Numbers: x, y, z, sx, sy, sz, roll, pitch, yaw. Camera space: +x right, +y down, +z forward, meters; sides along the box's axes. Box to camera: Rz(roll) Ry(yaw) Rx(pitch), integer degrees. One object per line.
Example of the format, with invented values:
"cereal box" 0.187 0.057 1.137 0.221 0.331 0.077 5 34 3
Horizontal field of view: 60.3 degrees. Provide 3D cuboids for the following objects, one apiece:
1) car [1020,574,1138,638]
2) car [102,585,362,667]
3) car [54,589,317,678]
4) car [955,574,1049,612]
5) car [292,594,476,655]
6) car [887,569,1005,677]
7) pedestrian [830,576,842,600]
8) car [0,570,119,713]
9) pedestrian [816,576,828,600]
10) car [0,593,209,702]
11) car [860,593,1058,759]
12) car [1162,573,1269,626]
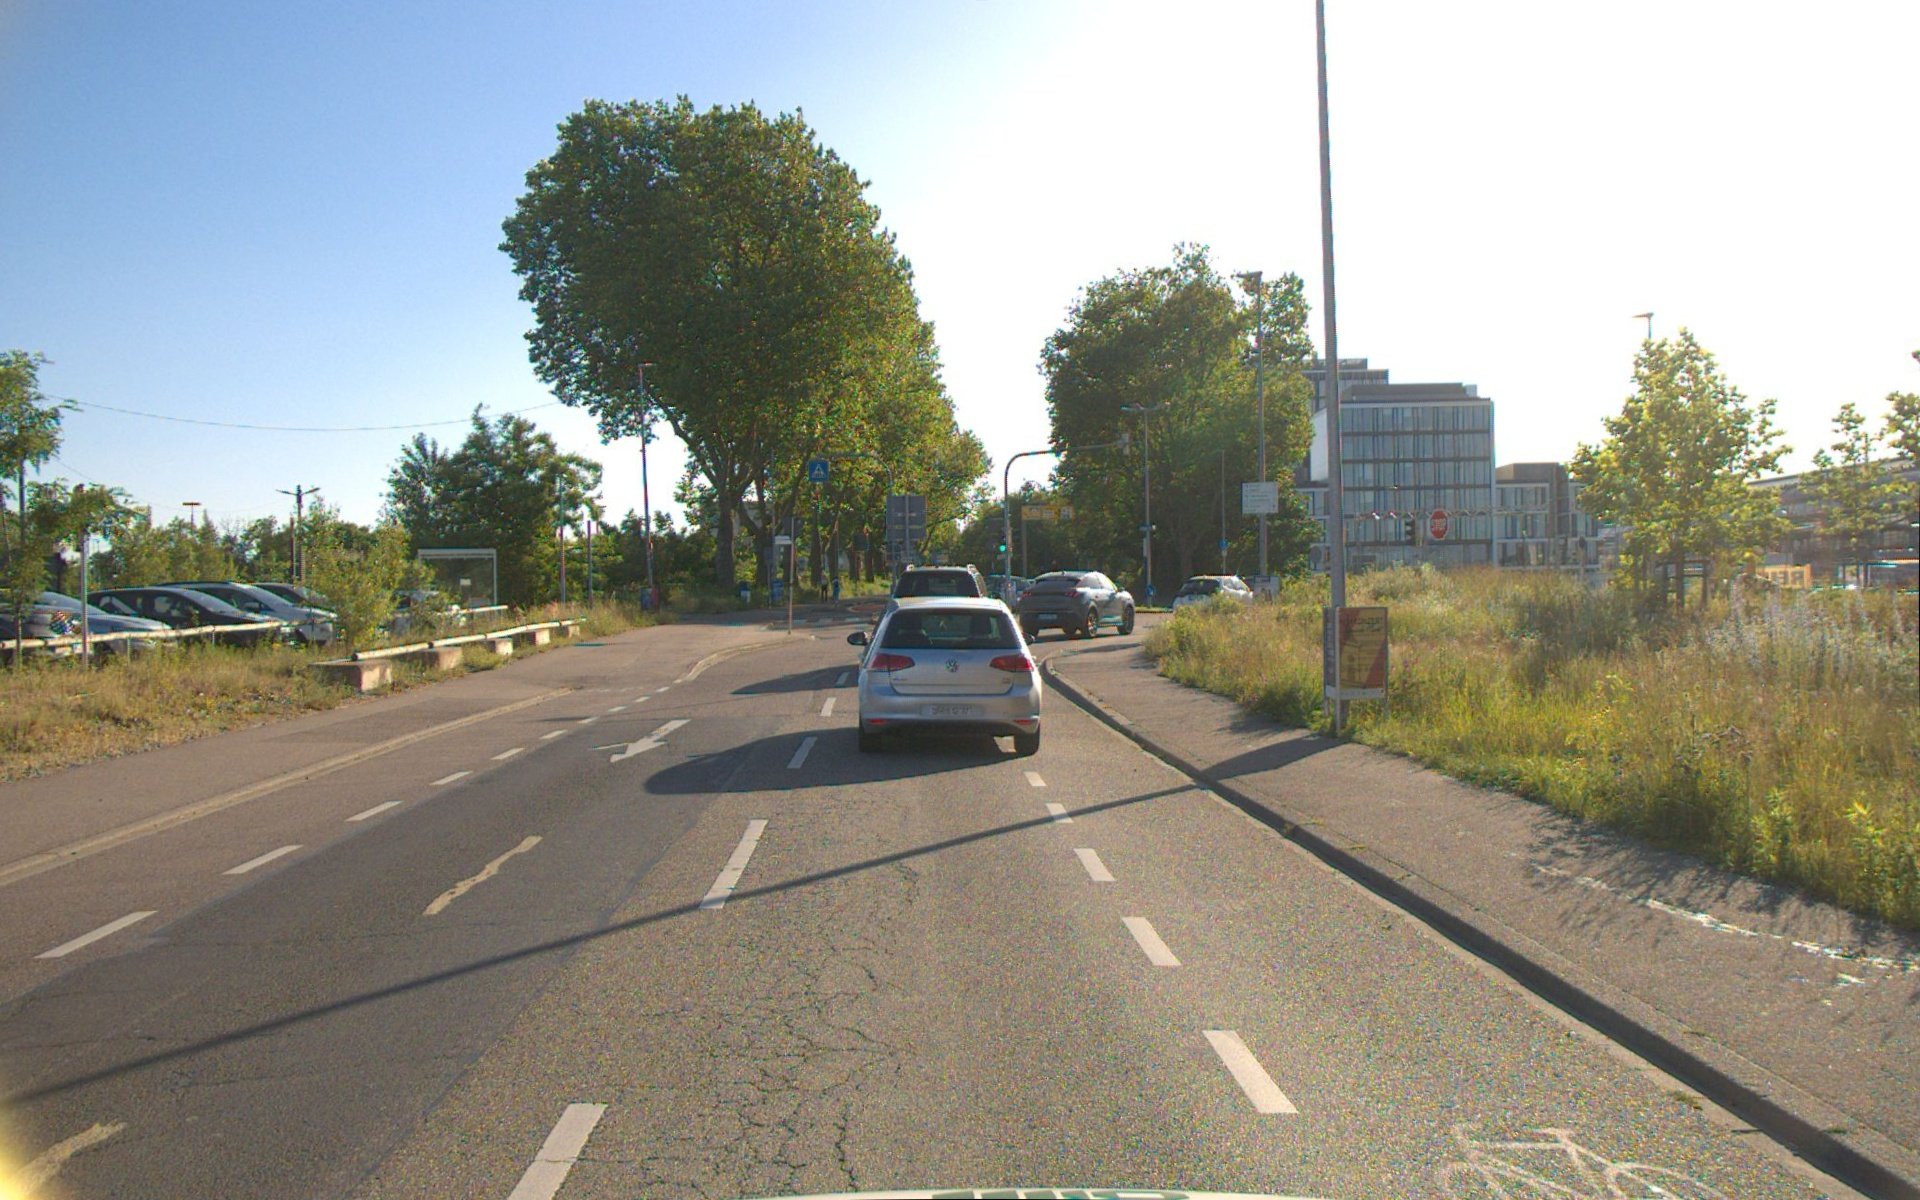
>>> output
"car" 3.150 0.124 42.867 1.874 1.556 4.408 0 1 21
"car" -14.797 0.501 33.794 4.452 1.585 1.877 -1 0 -3
"car" -14.433 0.596 31.003 4.007 1.585 1.877 -1 0 -3
"car" 1.805 -0.310 71.717 1.981 1.624 3.943 -1 1 -39
"car" -15.631 0.653 45.055 4.337 1.585 1.877 -1 0 -3
"car" -0.177 0.361 30.084 1.781 1.799 4.632 0 1 4
"pedestrian" -7.386 -0.717 98.206 0.665 1.439 0.684 0 0 -2
"car" -14.402 0.554 22.603 4.749 1.867 1.999 -1 0 -3
"pedestrian" -8.218 -0.709 98.270 0.665 1.439 0.684 0 0 -2
"car" -14.346 0.713 25.586 4.503 1.585 1.999 -1 0 -3
"car" -0.122 0.666 16.729 1.754 1.445 3.997 0 1 -4
"car" 8.184 -0.036 52.833 1.865 1.624 3.988 0 0 34
